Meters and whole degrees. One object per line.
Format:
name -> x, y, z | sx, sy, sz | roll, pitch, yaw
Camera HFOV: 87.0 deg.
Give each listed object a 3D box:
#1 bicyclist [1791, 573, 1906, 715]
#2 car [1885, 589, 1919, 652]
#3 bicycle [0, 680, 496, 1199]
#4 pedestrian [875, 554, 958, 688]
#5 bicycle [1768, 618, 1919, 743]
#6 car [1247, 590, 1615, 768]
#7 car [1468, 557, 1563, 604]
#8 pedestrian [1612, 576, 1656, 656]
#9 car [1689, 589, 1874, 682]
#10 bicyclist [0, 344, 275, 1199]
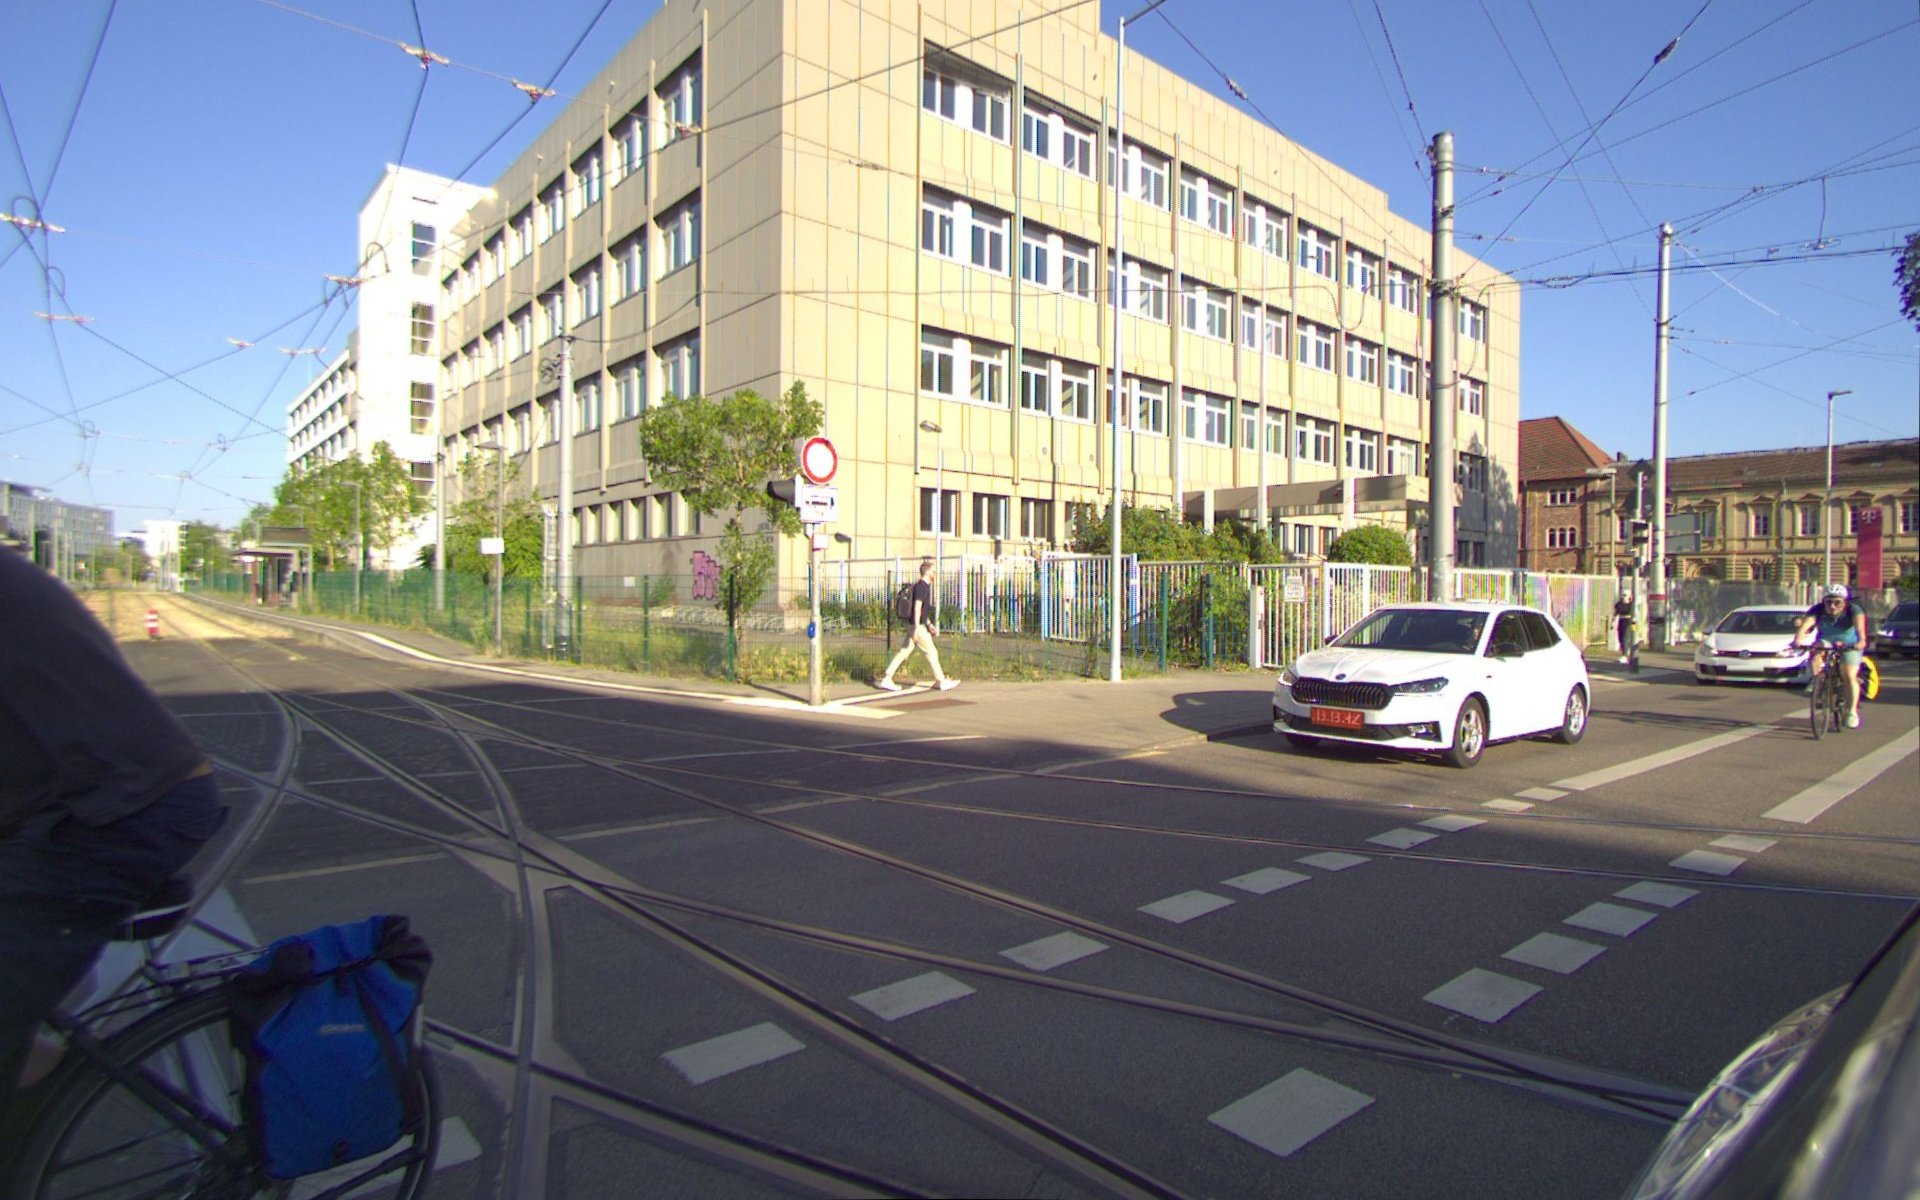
bicyclist -> 9.484, 0.446, 10.808 | 0.843, 1.440, 0.728 | 0, -1, -35
car -> 26.988, 0.514, 27.787 | 4.225, 1.664, 1.791 | 0, -2, -40
bicycle -> -1.805, 0.843, 1.519 | 1.929, 1.297, 0.652 | 0, 1, -36
pedestrian -> -0.603, 0.287, 14.307 | 1.063, 1.835, 0.735 | -1, 0, 6
bicycle -> 9.497, 0.799, 10.811 | 2.263, 1.158, 0.765 | 0, 1, -36
car -> 4.735, 0.621, 9.938 | 4.001, 1.407, 1.705 | 0, 0, -39
car -> 23.533, -0.795, 42.801 | 4.701, 1.865, 1.997 | 0, 1, -41
pedestrian -> 15.414, 0.349, 23.146 | 0.755, 1.784, 0.593 | 0, 0, -35
car -> 15.245, 0.595, 18.715 | 4.224, 1.522, 1.792 | 0, -2, -39
bicyclist -> -1.713, 0.447, 1.563 | 1.068, 1.623, 0.652 | 0, 0, -36
